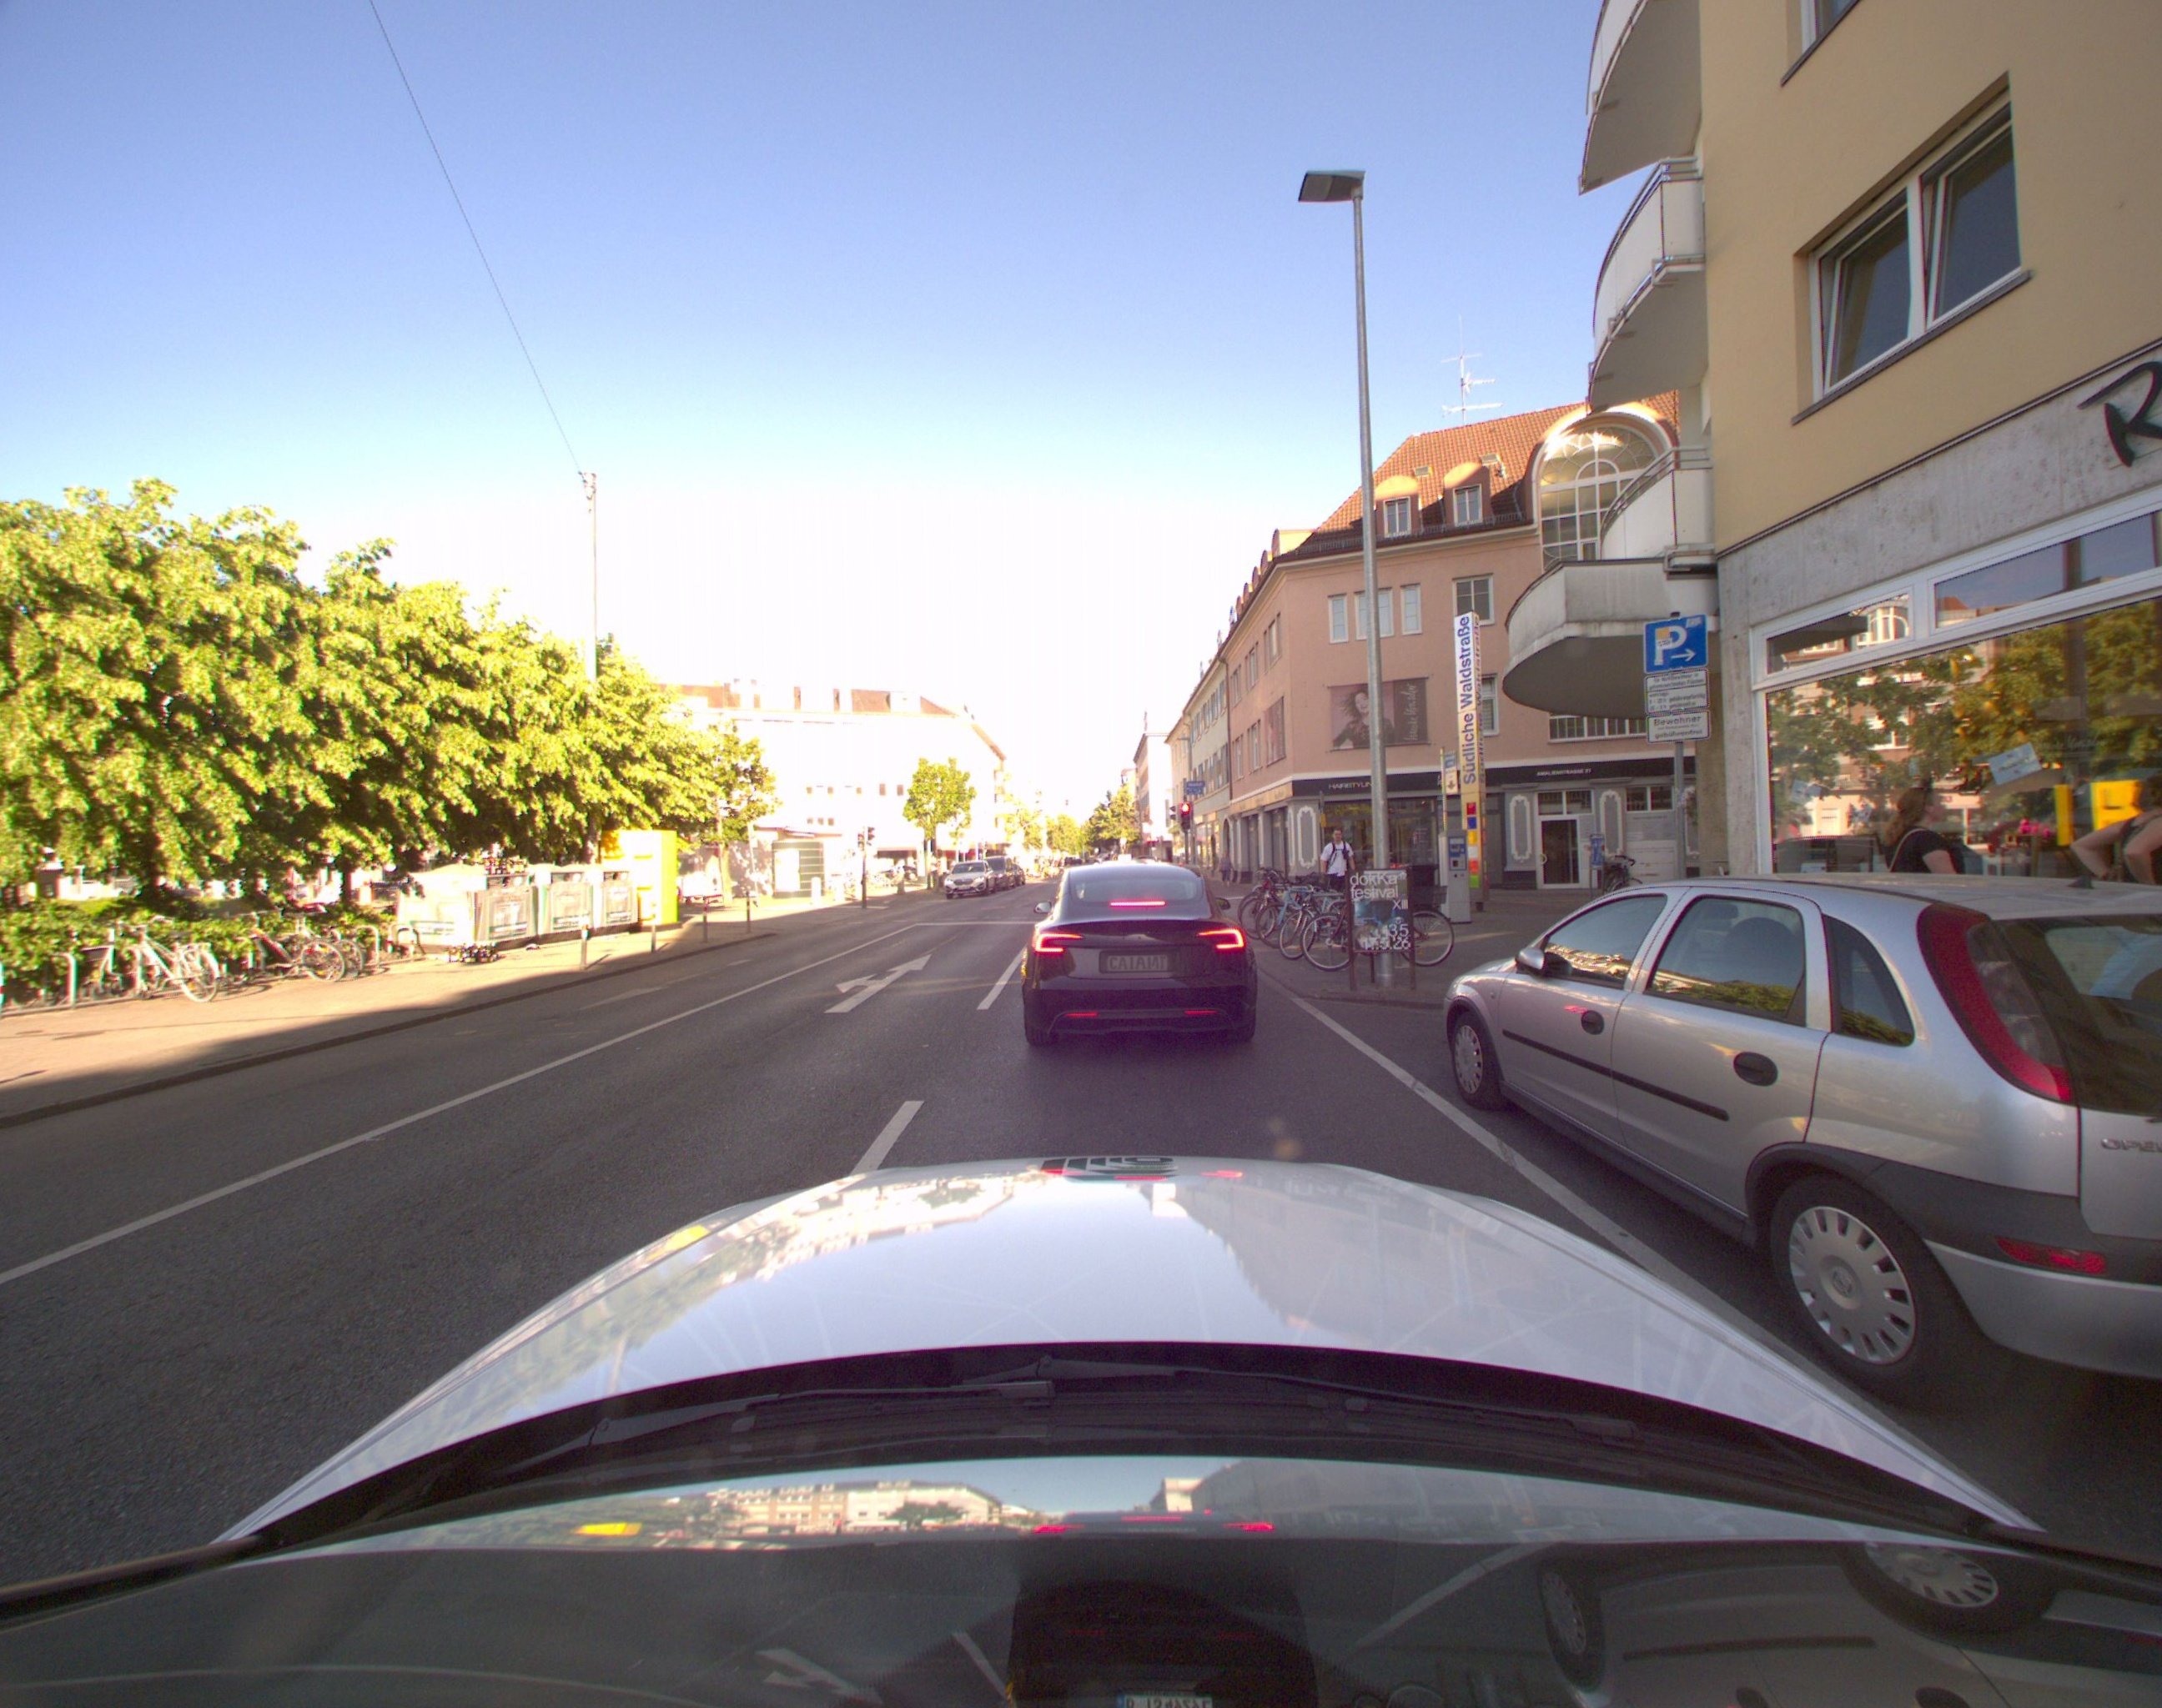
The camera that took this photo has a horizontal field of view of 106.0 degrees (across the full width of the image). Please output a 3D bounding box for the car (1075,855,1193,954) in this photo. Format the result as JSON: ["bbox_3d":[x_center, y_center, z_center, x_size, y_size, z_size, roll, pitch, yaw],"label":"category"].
[{"bbox_3d":[0.794,0.746,13.908,1.712,1.425,3.757,-1,0,0],"label":"car"}]

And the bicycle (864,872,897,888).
[{"bbox_3d":[-12.362,1.590,50.277,1.857,0.934,0.606,0,-1,0],"label":"bicycle"}]

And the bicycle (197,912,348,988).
[{"bbox_3d":[-11.497,1.350,11.589,1.913,1.003,0.518,-1,-1,11],"label":"bicycle"}]

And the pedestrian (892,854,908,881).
[{"bbox_3d":[-13.638,1.013,61.341,1.060,2.014,1.049,0,-1,-18],"label":"pedestrian"}]

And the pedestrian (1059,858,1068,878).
[{"bbox_3d":[-1.421,1.108,65.135,0.623,1.538,0.511,0,-1,-17],"label":"pedestrian"}]

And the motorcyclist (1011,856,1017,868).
[{"bbox_3d":[-6.727,0.800,82.209,0.493,1.253,0.351,0,-1,-36],"label":"motorcyclist"}]

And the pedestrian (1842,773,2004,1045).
[{"bbox_3d":[5.964,0.362,5.812,0.561,1.784,0.747,-1,0,27],"label":"pedestrian"}]

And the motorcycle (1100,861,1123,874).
[{"bbox_3d":[2.639,1.184,71.259,1.933,1.110,0.515,-1,0,-20],"label":"motorcycle"}]

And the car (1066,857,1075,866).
[{"bbox_3d":[-2.044,1.435,161.585,1.746,1.688,3.831,0,-1,0],"label":"car"}]

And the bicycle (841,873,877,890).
[{"bbox_3d":[-12.432,1.538,45.648,1.857,0.934,0.606,0,-1,0],"label":"bicycle"}]

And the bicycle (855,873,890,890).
[{"bbox_3d":[-12.238,1.614,47.798,1.857,0.934,0.606,0,-1,0],"label":"bicycle"}]

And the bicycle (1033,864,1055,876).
[{"bbox_3d":[-3.054,1.305,67.547,1.787,1.007,0.469,0,-1,-15],"label":"bicycle"}]

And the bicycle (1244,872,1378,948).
[{"bbox_3d":[3.490,0.848,12.480,1.864,1.038,0.534,-3,-1,5],"label":"bicycle"}]

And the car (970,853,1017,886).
[{"bbox_3d":[-4.518,0.771,42.661,1.780,1.646,4.404,-1,0,2],"label":"car"}]

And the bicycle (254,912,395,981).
[{"bbox_3d":[-11.321,1.370,12.200,1.888,0.955,0.518,-1,-1,11],"label":"bicycle"}]

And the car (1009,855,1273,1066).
[{"bbox_3d":[0.479,0.759,7.685,1.815,1.442,4.001,-1,-1,2],"label":"car"}]

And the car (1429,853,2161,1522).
[{"bbox_3d":[2.949,0.734,3.505,1.540,1.390,3.479,-1,1,3],"label":"car"}]

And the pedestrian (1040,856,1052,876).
[{"bbox_3d":[-2.823,0.976,66.053,0.756,1.631,0.951,0,-1,-16],"label":"pedestrian"}]

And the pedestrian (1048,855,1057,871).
[{"bbox_3d":[-3.231,0.971,91.614,0.676,1.789,0.705,0,-1,-34],"label":"pedestrian"}]

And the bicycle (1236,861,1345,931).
[{"bbox_3d":[3.777,0.757,14.787,1.818,1.169,0.507,-3,-1,7],"label":"bicycle"}]

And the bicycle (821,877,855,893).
[{"bbox_3d":[-12.839,1.631,43.079,1.640,0.792,0.606,0,-1,-3],"label":"bicycle"}]

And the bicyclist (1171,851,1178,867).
[{"bbox_3d":[8.562,0.451,74.734,0.525,1.503,0.473,0,-1,-22],"label":"bicyclist"}]

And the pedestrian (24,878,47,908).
[{"bbox_3d":[-77.868,2.872,60.654,0.891,2.171,0.882,-1,-1,26],"label":"pedestrian"}]

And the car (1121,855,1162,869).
[{"bbox_3d":[6.416,0.864,86.344,3.999,1.354,1.897,-1,0,-19],"label":"car"}]

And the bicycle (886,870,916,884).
[{"bbox_3d":[-12.187,1.561,55.137,1.857,0.934,0.606,-1,0,0],"label":"bicycle"}]

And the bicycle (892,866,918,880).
[{"bbox_3d":[-16.957,1.814,78.432,2.373,1.296,0.509,0,-1,-25],"label":"bicycle"}]

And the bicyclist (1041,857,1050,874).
[{"bbox_3d":[-2.934,0.951,67.579,0.670,1.395,0.460,0,-1,-14],"label":"bicyclist"}]

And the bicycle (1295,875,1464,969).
[{"bbox_3d":[3.629,0.834,9.982,1.862,1.038,0.354,-3,-1,8],"label":"bicycle"}]

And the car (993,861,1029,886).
[{"bbox_3d":[-4.274,1.166,50.218,1.709,1.446,3.846,0,-1,2],"label":"car"}]

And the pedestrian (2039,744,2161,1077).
[{"bbox_3d":[5.660,0.278,4.303,0.639,1.665,0.663,-2,-1,40],"label":"pedestrian"}]

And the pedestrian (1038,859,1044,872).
[{"bbox_3d":[-4.459,1.328,91.783,0.524,1.422,0.475,0,-1,-28],"label":"pedestrian"}]

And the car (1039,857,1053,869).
[{"bbox_3d":[-4.436,1.129,103.995,1.703,1.552,3.692,-1,0,-4],"label":"car"}]

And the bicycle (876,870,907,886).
[{"bbox_3d":[-12.267,1.542,52.689,1.857,0.934,0.606,-1,0,0],"label":"bicycle"}]

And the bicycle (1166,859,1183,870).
[{"bbox_3d":[8.602,0.977,74.740,1.562,1.012,0.480,0,-1,-22],"label":"bicycle"}]

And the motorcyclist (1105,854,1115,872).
[{"bbox_3d":[2.527,0.793,71.227,0.721,1.528,0.513,-1,-1,-19],"label":"motorcyclist"}]

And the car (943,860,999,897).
[{"bbox_3d":[-4.869,1.043,36.402,1.782,1.460,3.759,-4,-1,2],"label":"car"}]

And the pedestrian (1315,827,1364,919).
[{"bbox_3d":[5.104,0.372,16.130,0.747,1.765,0.838,0,-1,6],"label":"pedestrian"}]

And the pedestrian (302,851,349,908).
[{"bbox_3d":[-27.117,0.917,29.242,0.890,2.013,0.893,-1,0,15],"label":"pedestrian"}]

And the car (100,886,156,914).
[{"bbox_3d":[-52.676,2.501,44.999,3.526,1.386,1.703,-1,0,36],"label":"car"}]

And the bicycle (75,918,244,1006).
[{"bbox_3d":[-11.623,1.338,10.276,1.919,1.015,0.518,-1,-1,12],"label":"bicycle"}]

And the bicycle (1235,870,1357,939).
[{"bbox_3d":[3.581,0.837,13.670,1.863,1.038,0.548,-3,-1,7],"label":"bicycle"}]

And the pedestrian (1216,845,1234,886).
[{"bbox_3d":[6.335,0.495,35.755,0.703,1.742,0.541,-1,0,5],"label":"pedestrian"}]

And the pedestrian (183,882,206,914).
[{"bbox_3d":[-48.845,2.437,44.879,0.842,1.717,0.761,-2,-1,35],"label":"pedestrian"}]

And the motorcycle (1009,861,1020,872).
[{"bbox_3d":[-6.719,1.250,82.209,0.985,1.086,0.352,-1,0,-35],"label":"motorcycle"}]

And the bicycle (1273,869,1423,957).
[{"bbox_3d":[3.653,0.803,11.214,1.864,1.087,0.415,-3,-1,5],"label":"bicycle"}]

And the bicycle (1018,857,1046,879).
[{"bbox_3d":[-3.785,1.063,63.014,2.104,1.665,0.666,0,-1,-14],"label":"bicycle"}]
